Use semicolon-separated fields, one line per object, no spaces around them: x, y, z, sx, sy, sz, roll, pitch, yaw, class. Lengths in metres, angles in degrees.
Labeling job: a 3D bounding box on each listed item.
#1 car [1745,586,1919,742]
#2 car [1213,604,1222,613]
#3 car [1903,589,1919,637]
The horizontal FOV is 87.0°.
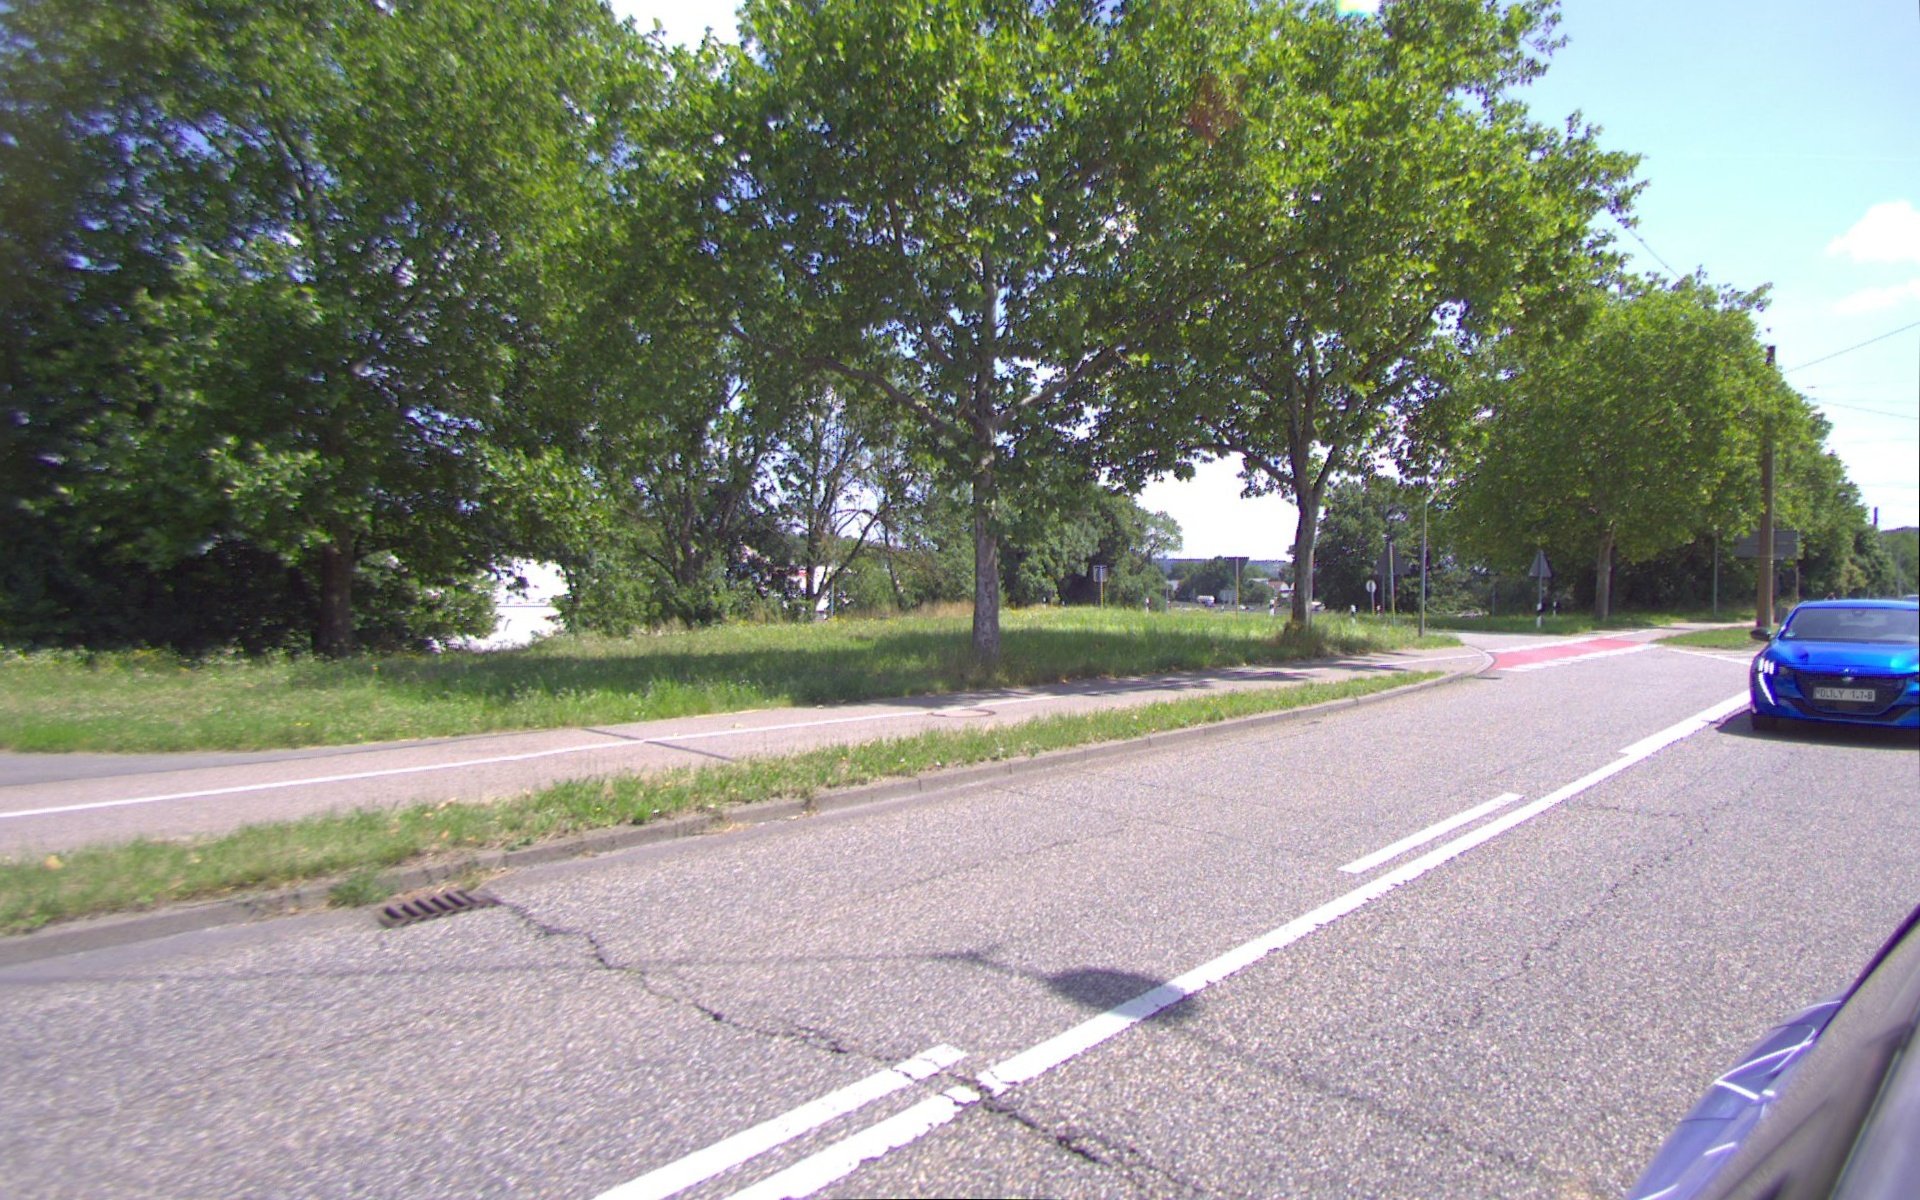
10.408;0.595;11.547;4.394;1.490;1.768;0;1;-45;car
60.525;1.978;237.850;1.973;2.038;4.540;1;2;17;car
30.614;0.390;31.455;3.935;1.448;1.768;0;1;-45;car
